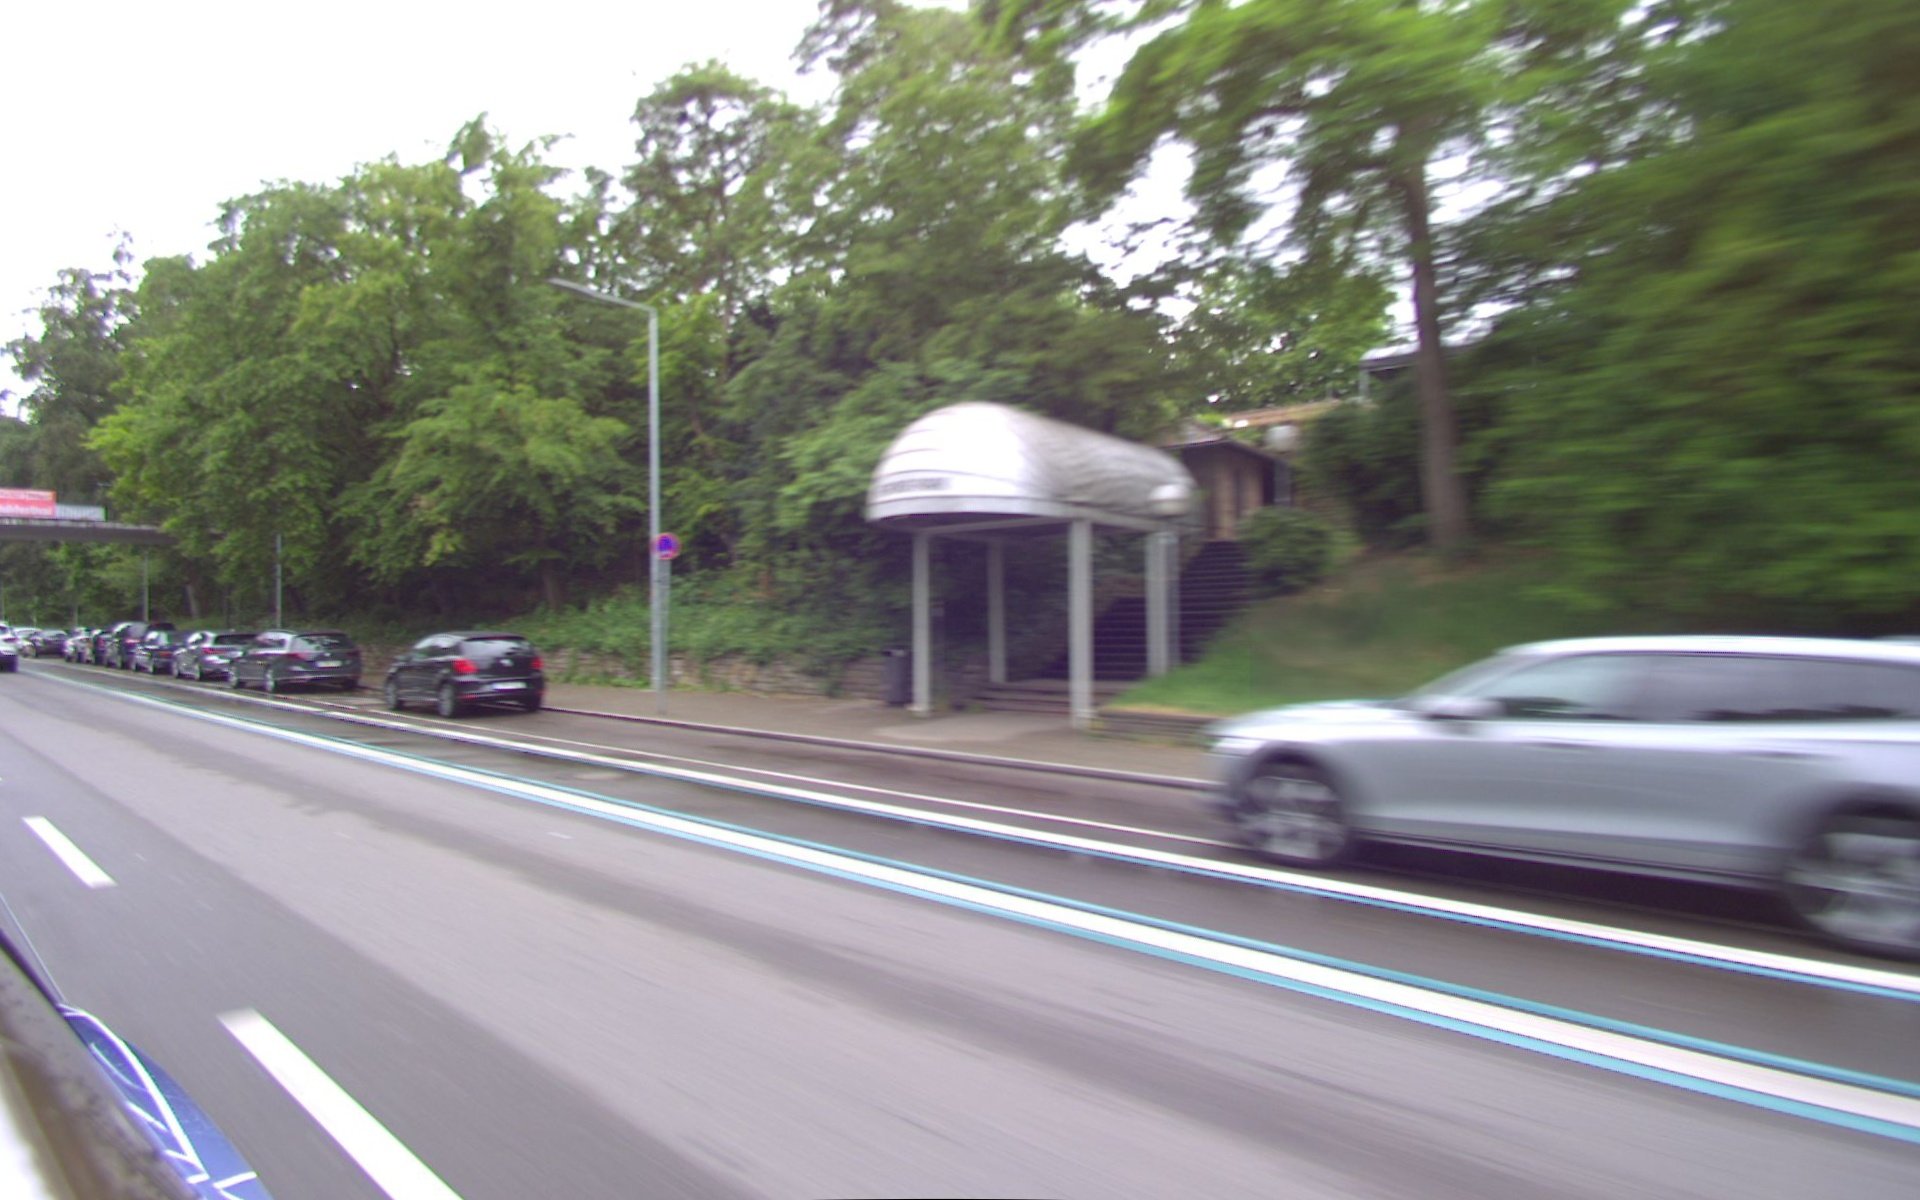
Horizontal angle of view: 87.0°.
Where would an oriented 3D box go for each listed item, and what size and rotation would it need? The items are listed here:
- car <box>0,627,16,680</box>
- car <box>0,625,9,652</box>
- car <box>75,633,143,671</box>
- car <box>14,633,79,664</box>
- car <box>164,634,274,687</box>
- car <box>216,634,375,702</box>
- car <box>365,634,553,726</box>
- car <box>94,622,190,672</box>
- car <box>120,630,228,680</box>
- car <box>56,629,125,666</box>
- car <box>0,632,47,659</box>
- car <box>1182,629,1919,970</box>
[{"bbox_3d":[-32.148,1.703,32.903,4.128,1.664,1.776,-2,-3,42],"label":"car"},{"bbox_3d":[-72.893,2.923,75.554,5.010,2.020,1.955,-2,-1,38],"label":"car"},{"bbox_3d":[-34.746,2.114,41.293,3.842,1.450,1.592,-2,-2,42],"label":"car"},{"bbox_3d":[-46.108,2.456,51.042,4.036,1.488,1.813,-2,-2,39],"label":"car"},{"bbox_3d":[-21.797,1.734,29.711,4.294,1.434,1.765,-2,-2,42],"label":"car"},{"bbox_3d":[-16.226,1.575,24.631,4.752,1.474,1.936,-2,-2,40],"label":"car"},{"bbox_3d":[-9.177,1.362,18.423,3.991,1.468,1.653,-1,-2,41],"label":"car"},{"bbox_3d":[-30.642,1.750,37.853,4.835,1.755,1.970,-2,-2,41],"label":"car"},{"bbox_3d":[-26.417,1.815,33.951,4.894,1.484,1.963,-2,-1,41],"label":"car"},{"bbox_3d":[-38.068,2.071,44.291,4.230,1.558,1.670,-2,-2,41],"label":"car"},{"bbox_3d":[-53.980,2.626,58.120,3.979,1.493,1.771,-2,-3,40],"label":"car"},{"bbox_3d":[3.950,0.940,6.154,4.669,1.493,2.056,-1,-1,40],"label":"car"}]
